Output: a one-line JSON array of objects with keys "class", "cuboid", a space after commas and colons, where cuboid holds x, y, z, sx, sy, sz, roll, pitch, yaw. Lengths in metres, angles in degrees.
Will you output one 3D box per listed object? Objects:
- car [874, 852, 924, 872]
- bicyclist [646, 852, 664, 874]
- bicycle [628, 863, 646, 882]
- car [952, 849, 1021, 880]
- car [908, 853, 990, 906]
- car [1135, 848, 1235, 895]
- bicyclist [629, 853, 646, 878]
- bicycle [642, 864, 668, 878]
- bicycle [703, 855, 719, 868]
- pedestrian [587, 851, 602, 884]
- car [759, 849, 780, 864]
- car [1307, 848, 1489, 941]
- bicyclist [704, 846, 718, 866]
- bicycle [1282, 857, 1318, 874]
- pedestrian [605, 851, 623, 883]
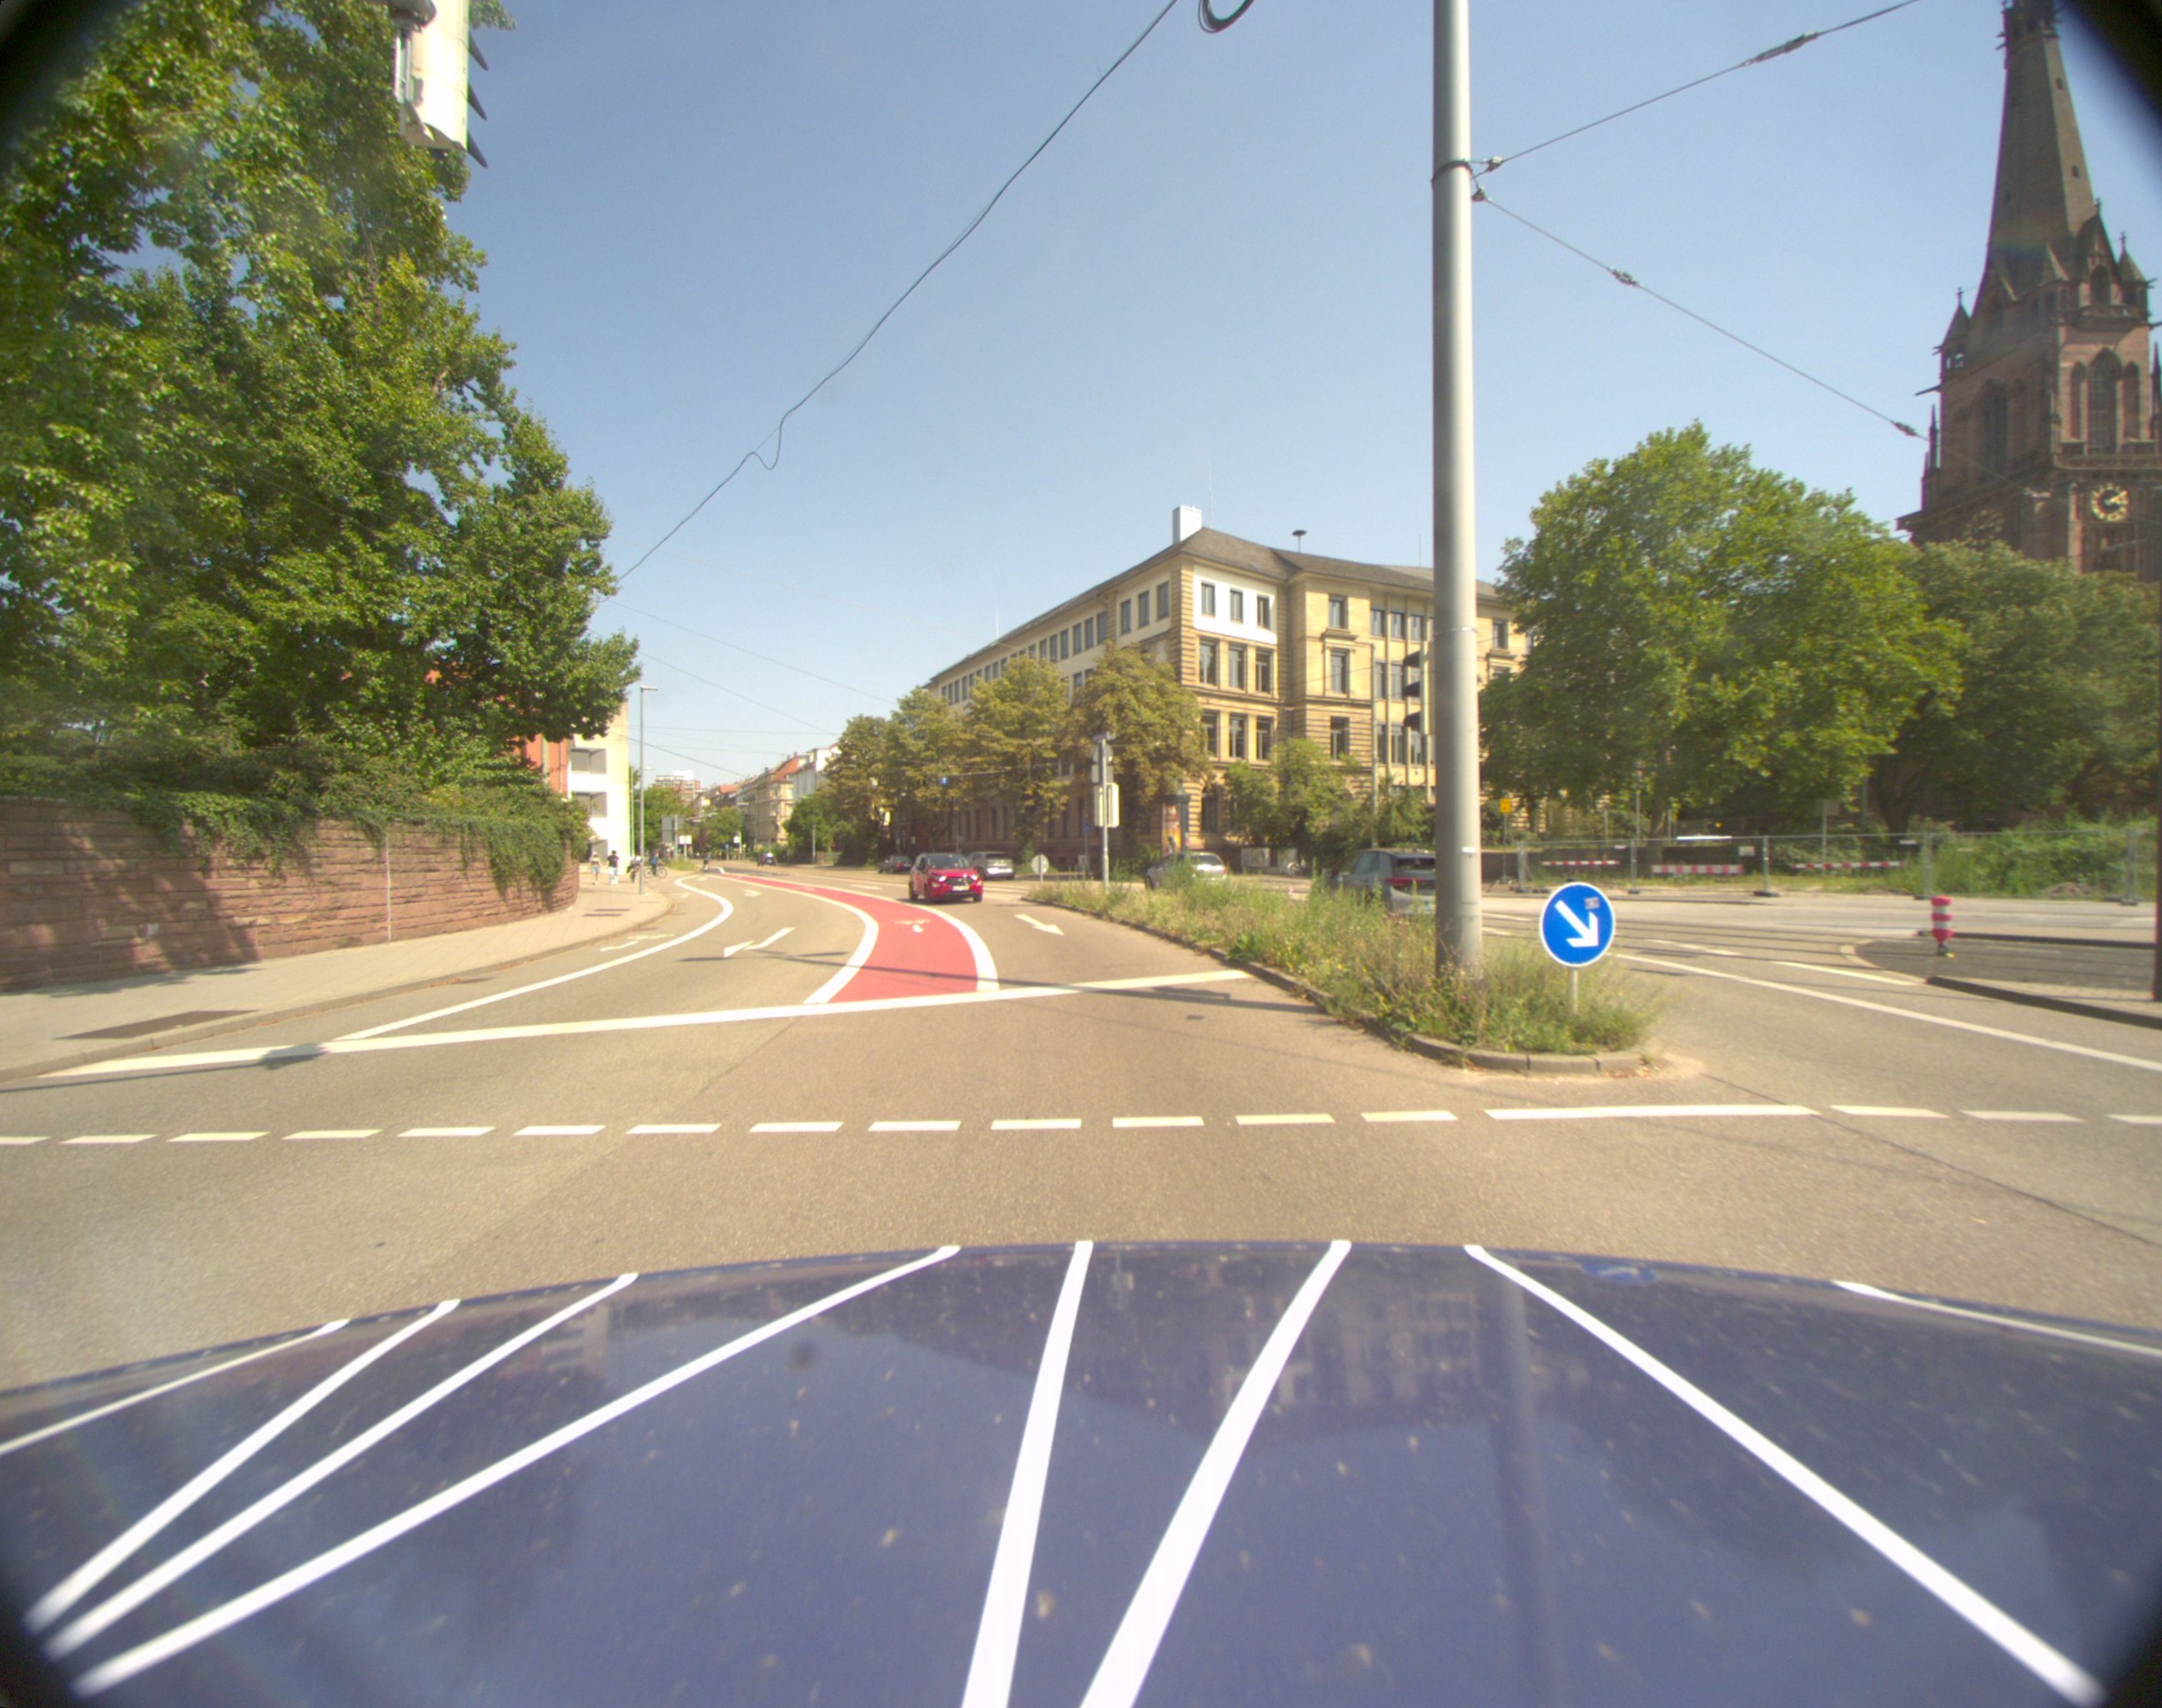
[{"class": "car", "cuboid": [-13.311, 0.577, 55.402, 1.696, 1.370, 4.605, -1, 1, -39]}, {"class": "bicyclist", "cuboid": [-30.206, 0.644, 53.939, 0.627, 1.530, 0.905, 2, -1, 14]}, {"class": "bicycle", "cuboid": [-25.088, 1.024, 42.928, 0.743, 1.043, 2.227, -2, 1, -33]}, {"class": "car", "cuboid": [-5.259, 0.549, 41.890, 1.781, 1.601, 4.661, -1, 1, -35]}, {"class": "car", "cuboid": [-4.379, 0.757, 24.726, 1.819, 1.542, 4.013, -2, 1, -21]}, {"class": "car", "cuboid": [3.567, 0.549, 26.837, 1.657, 1.521, 4.317, -1, 1, -21]}, {"class": "bicyclist", "cuboid": [-25.085, 0.626, 42.941, 0.748, 1.403, 0.959, -2, 1, -32]}, {"class": "bicycle", "cuboid": [-30.213, 1.212, 53.951, 0.615, 0.994, 1.713, 0, 0, 14]}, {"class": "bicycle", "cuboid": [-29.953, 0.620, 61.522, 0.616, 0.994, 1.711, 0, -1, -5]}, {"class": "pedestrian", "cuboid": [-25.297, 0.686, 39.482, 0.621, 1.656, 0.486, -2, 1, -34]}, {"class": "car", "cuboid": [-37.659, 0.284, 91.912, 1.699, 1.645, 3.571, -2, 1, -32]}, {"class": "car", "cuboid": [5.872, 0.652, 14.670, 1.701, 1.521, 4.182, 0, 1, -1]}, {"class": "bicyclist", "cuboid": [-29.936, 0.168, 61.476, 0.628, 1.589, 0.992, 0, 1, -4]}, {"class": "bicycle", "cuboid": [11.906, 0.614, 41.291, 2.184, 0.889, 0.748, -1, 1, -37]}, {"class": "pedestrian", "cuboid": [-24.436, 0.663, 39.780, 0.731, 1.656, 0.877, -2, 1, -30]}]
